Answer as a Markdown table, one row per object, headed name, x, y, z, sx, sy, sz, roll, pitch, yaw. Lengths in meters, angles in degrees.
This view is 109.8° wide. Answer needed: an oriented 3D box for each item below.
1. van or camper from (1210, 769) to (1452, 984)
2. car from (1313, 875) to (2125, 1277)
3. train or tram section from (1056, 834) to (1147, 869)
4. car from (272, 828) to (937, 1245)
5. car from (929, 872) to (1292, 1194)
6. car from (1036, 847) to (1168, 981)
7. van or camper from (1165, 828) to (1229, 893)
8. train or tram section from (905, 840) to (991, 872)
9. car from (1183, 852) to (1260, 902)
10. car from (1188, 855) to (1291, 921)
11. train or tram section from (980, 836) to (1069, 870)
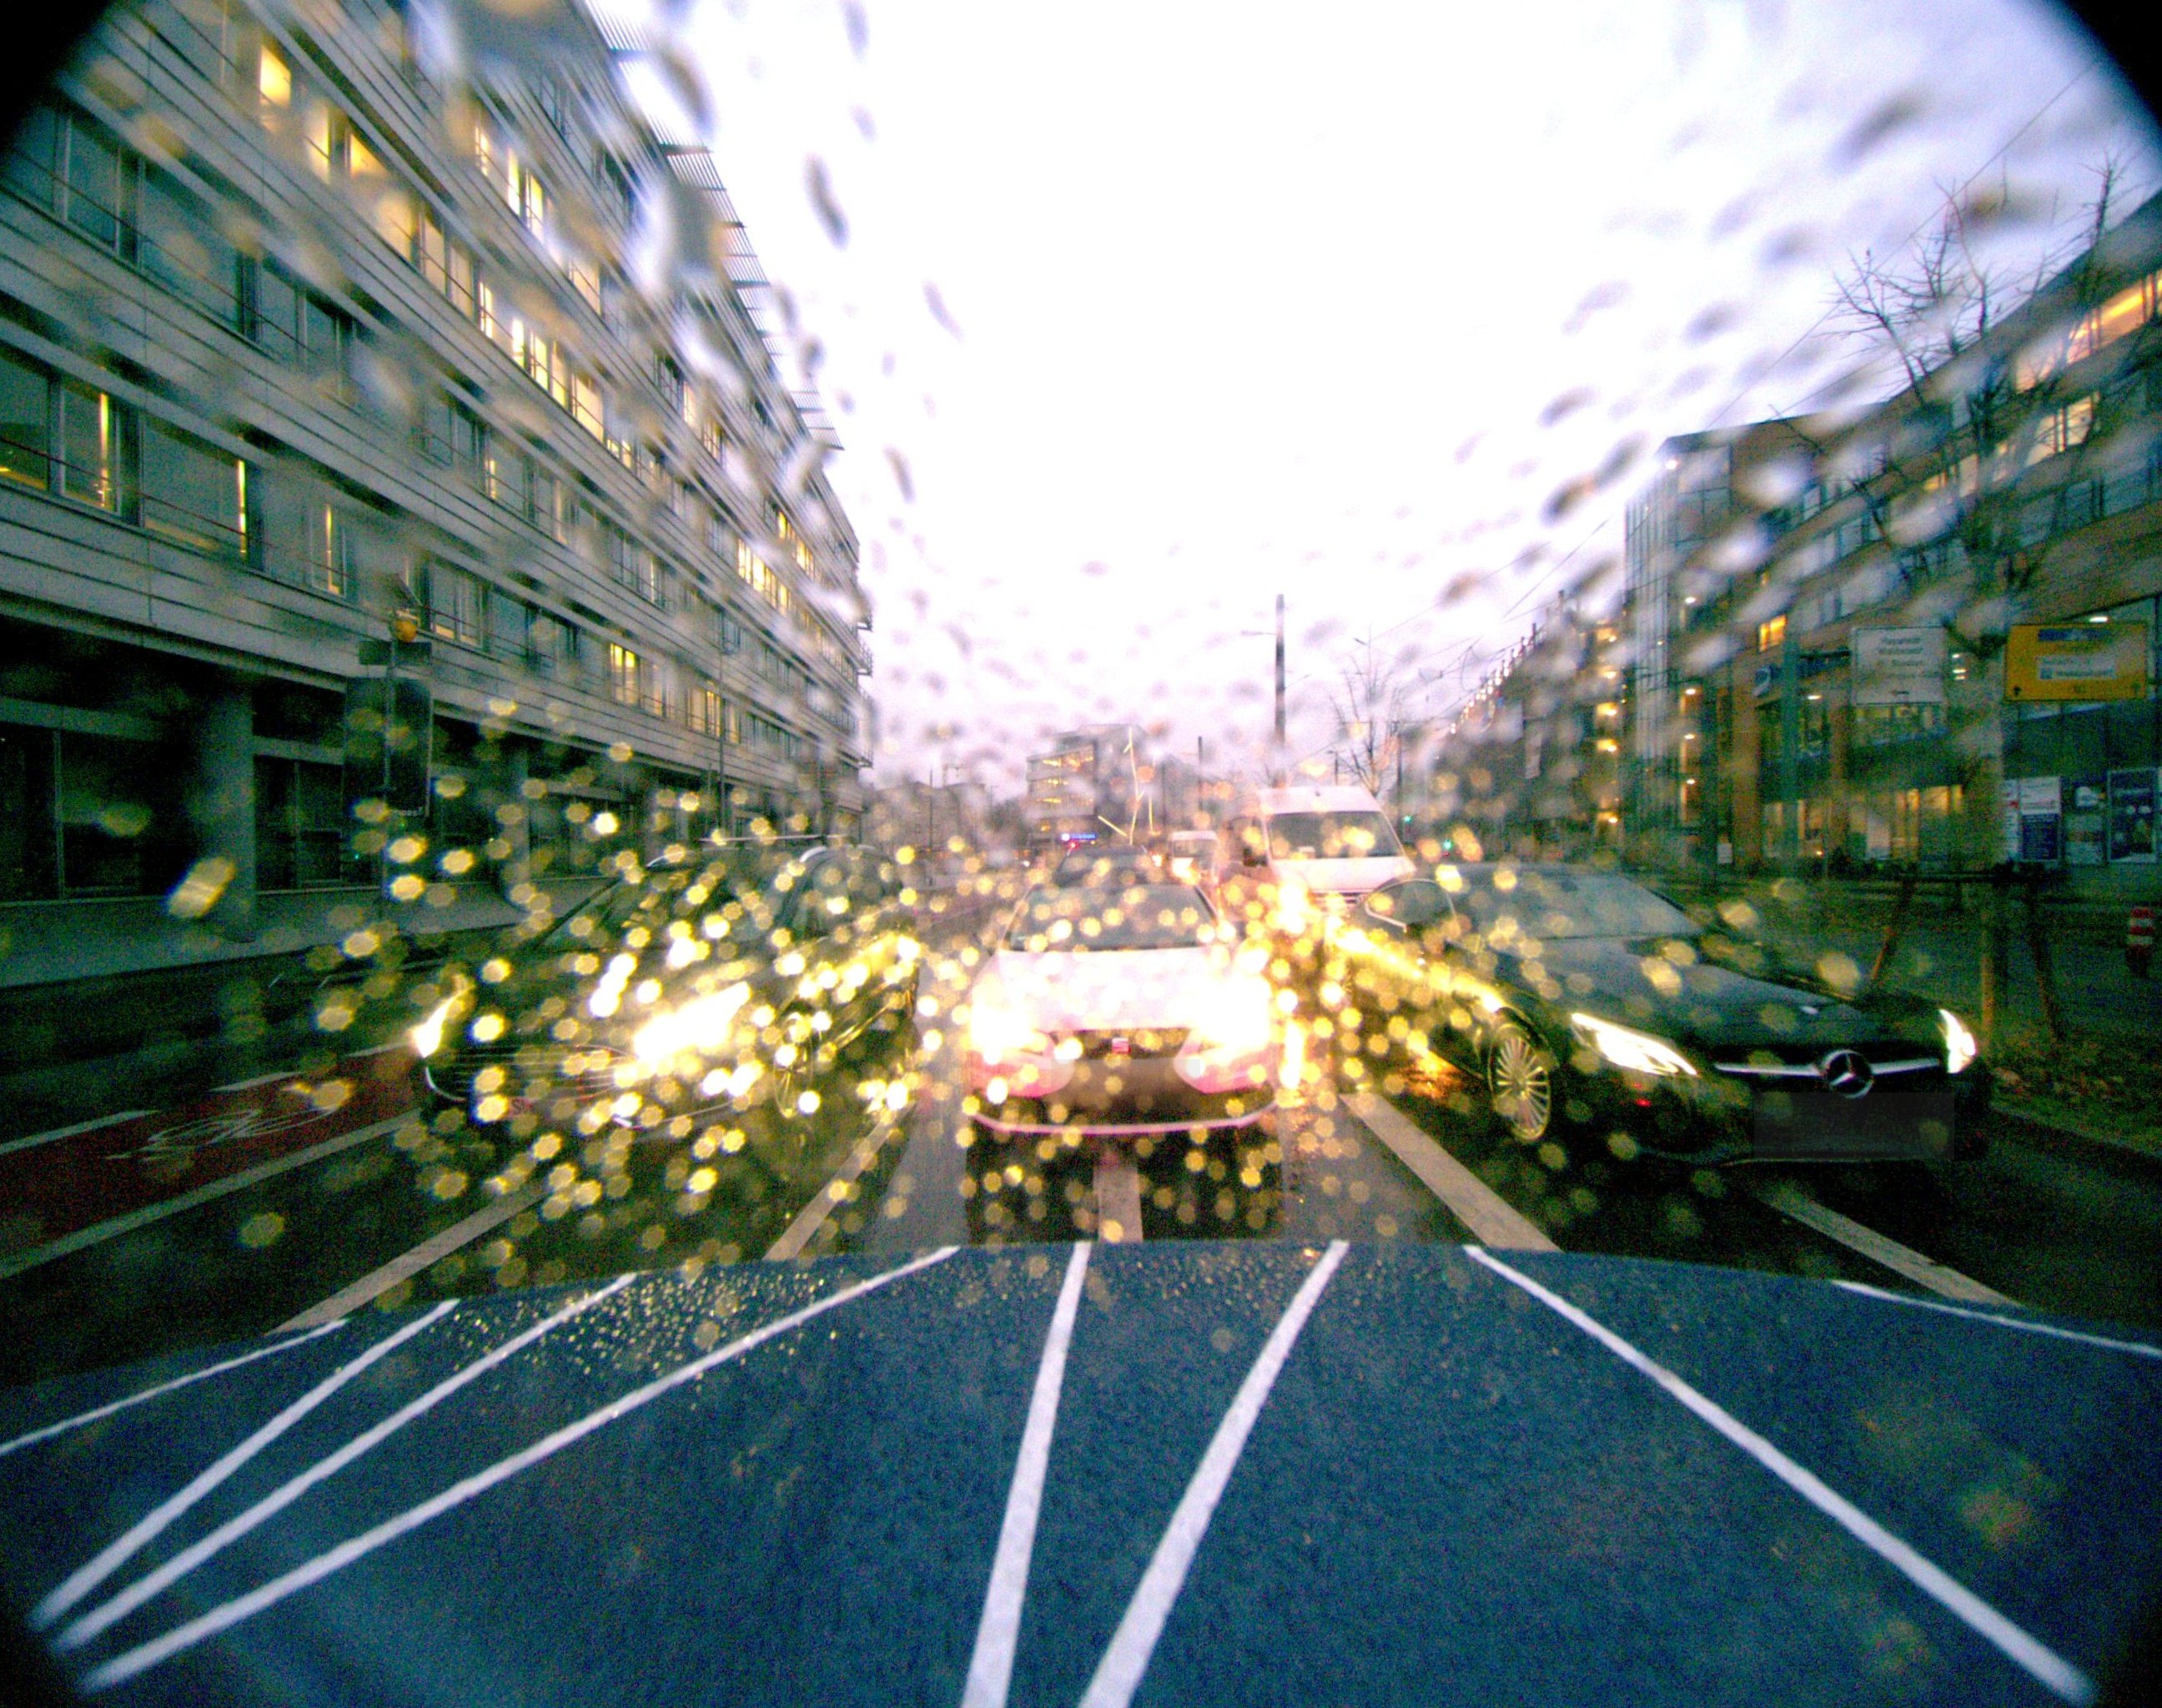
| name | x | y | z | sx | sy | sz | roll | pitch | yaw |
| --- | --- | --- | --- | --- | --- | --- | --- | --- | --- |
| van or camper | 3.527 | 0.250 | 12.141 | 2.061 | 2.533 | 5.885 | -2 | 1 | 2 |
| car | 3.040 | 0.907 | 4.973 | 1.824 | 1.324 | 4.225 | -2 | 0 | 2 |
| train or tram section | 3.112 | -0.409 | 116.965 | 13.354 | 4.832 | 3.744 | -2 | 1 | 24 |
| car | -2.578 | 0.816 | 5.743 | 1.909 | 1.809 | 4.689 | -2 | 0 | 1 |
| car | 0.212 | 0.961 | 5.938 | 1.773 | 1.449 | 4.222 | -2 | 0 | 2 |
| car | 0.337 | 0.795 | 11.985 | 1.684 | 1.723 | 3.714 | -2 | 0 | 2 |
| van or camper | 4.639 | 0.214 | 31.164 | 2.184 | 2.339 | 5.651 | -2 | 0 | 5 |
| train or tram section | -21.844 | 0.356 | 124.667 | 13.361 | 4.774 | 3.743 | -2 | 1 | 15 |
| car | 4.427 | 0.687 | 24.563 | 1.824 | 1.391 | 3.952 | -2 | 0 | 2 |
| car | 3.845 | 0.770 | 19.110 | 1.824 | 1.391 | 3.952 | -2 | 0 | 2 |
| train or tram section | -8.998 | -0.156 | 121.181 | 13.361 | 4.904 | 3.743 | -2 | 1 | 15 |
